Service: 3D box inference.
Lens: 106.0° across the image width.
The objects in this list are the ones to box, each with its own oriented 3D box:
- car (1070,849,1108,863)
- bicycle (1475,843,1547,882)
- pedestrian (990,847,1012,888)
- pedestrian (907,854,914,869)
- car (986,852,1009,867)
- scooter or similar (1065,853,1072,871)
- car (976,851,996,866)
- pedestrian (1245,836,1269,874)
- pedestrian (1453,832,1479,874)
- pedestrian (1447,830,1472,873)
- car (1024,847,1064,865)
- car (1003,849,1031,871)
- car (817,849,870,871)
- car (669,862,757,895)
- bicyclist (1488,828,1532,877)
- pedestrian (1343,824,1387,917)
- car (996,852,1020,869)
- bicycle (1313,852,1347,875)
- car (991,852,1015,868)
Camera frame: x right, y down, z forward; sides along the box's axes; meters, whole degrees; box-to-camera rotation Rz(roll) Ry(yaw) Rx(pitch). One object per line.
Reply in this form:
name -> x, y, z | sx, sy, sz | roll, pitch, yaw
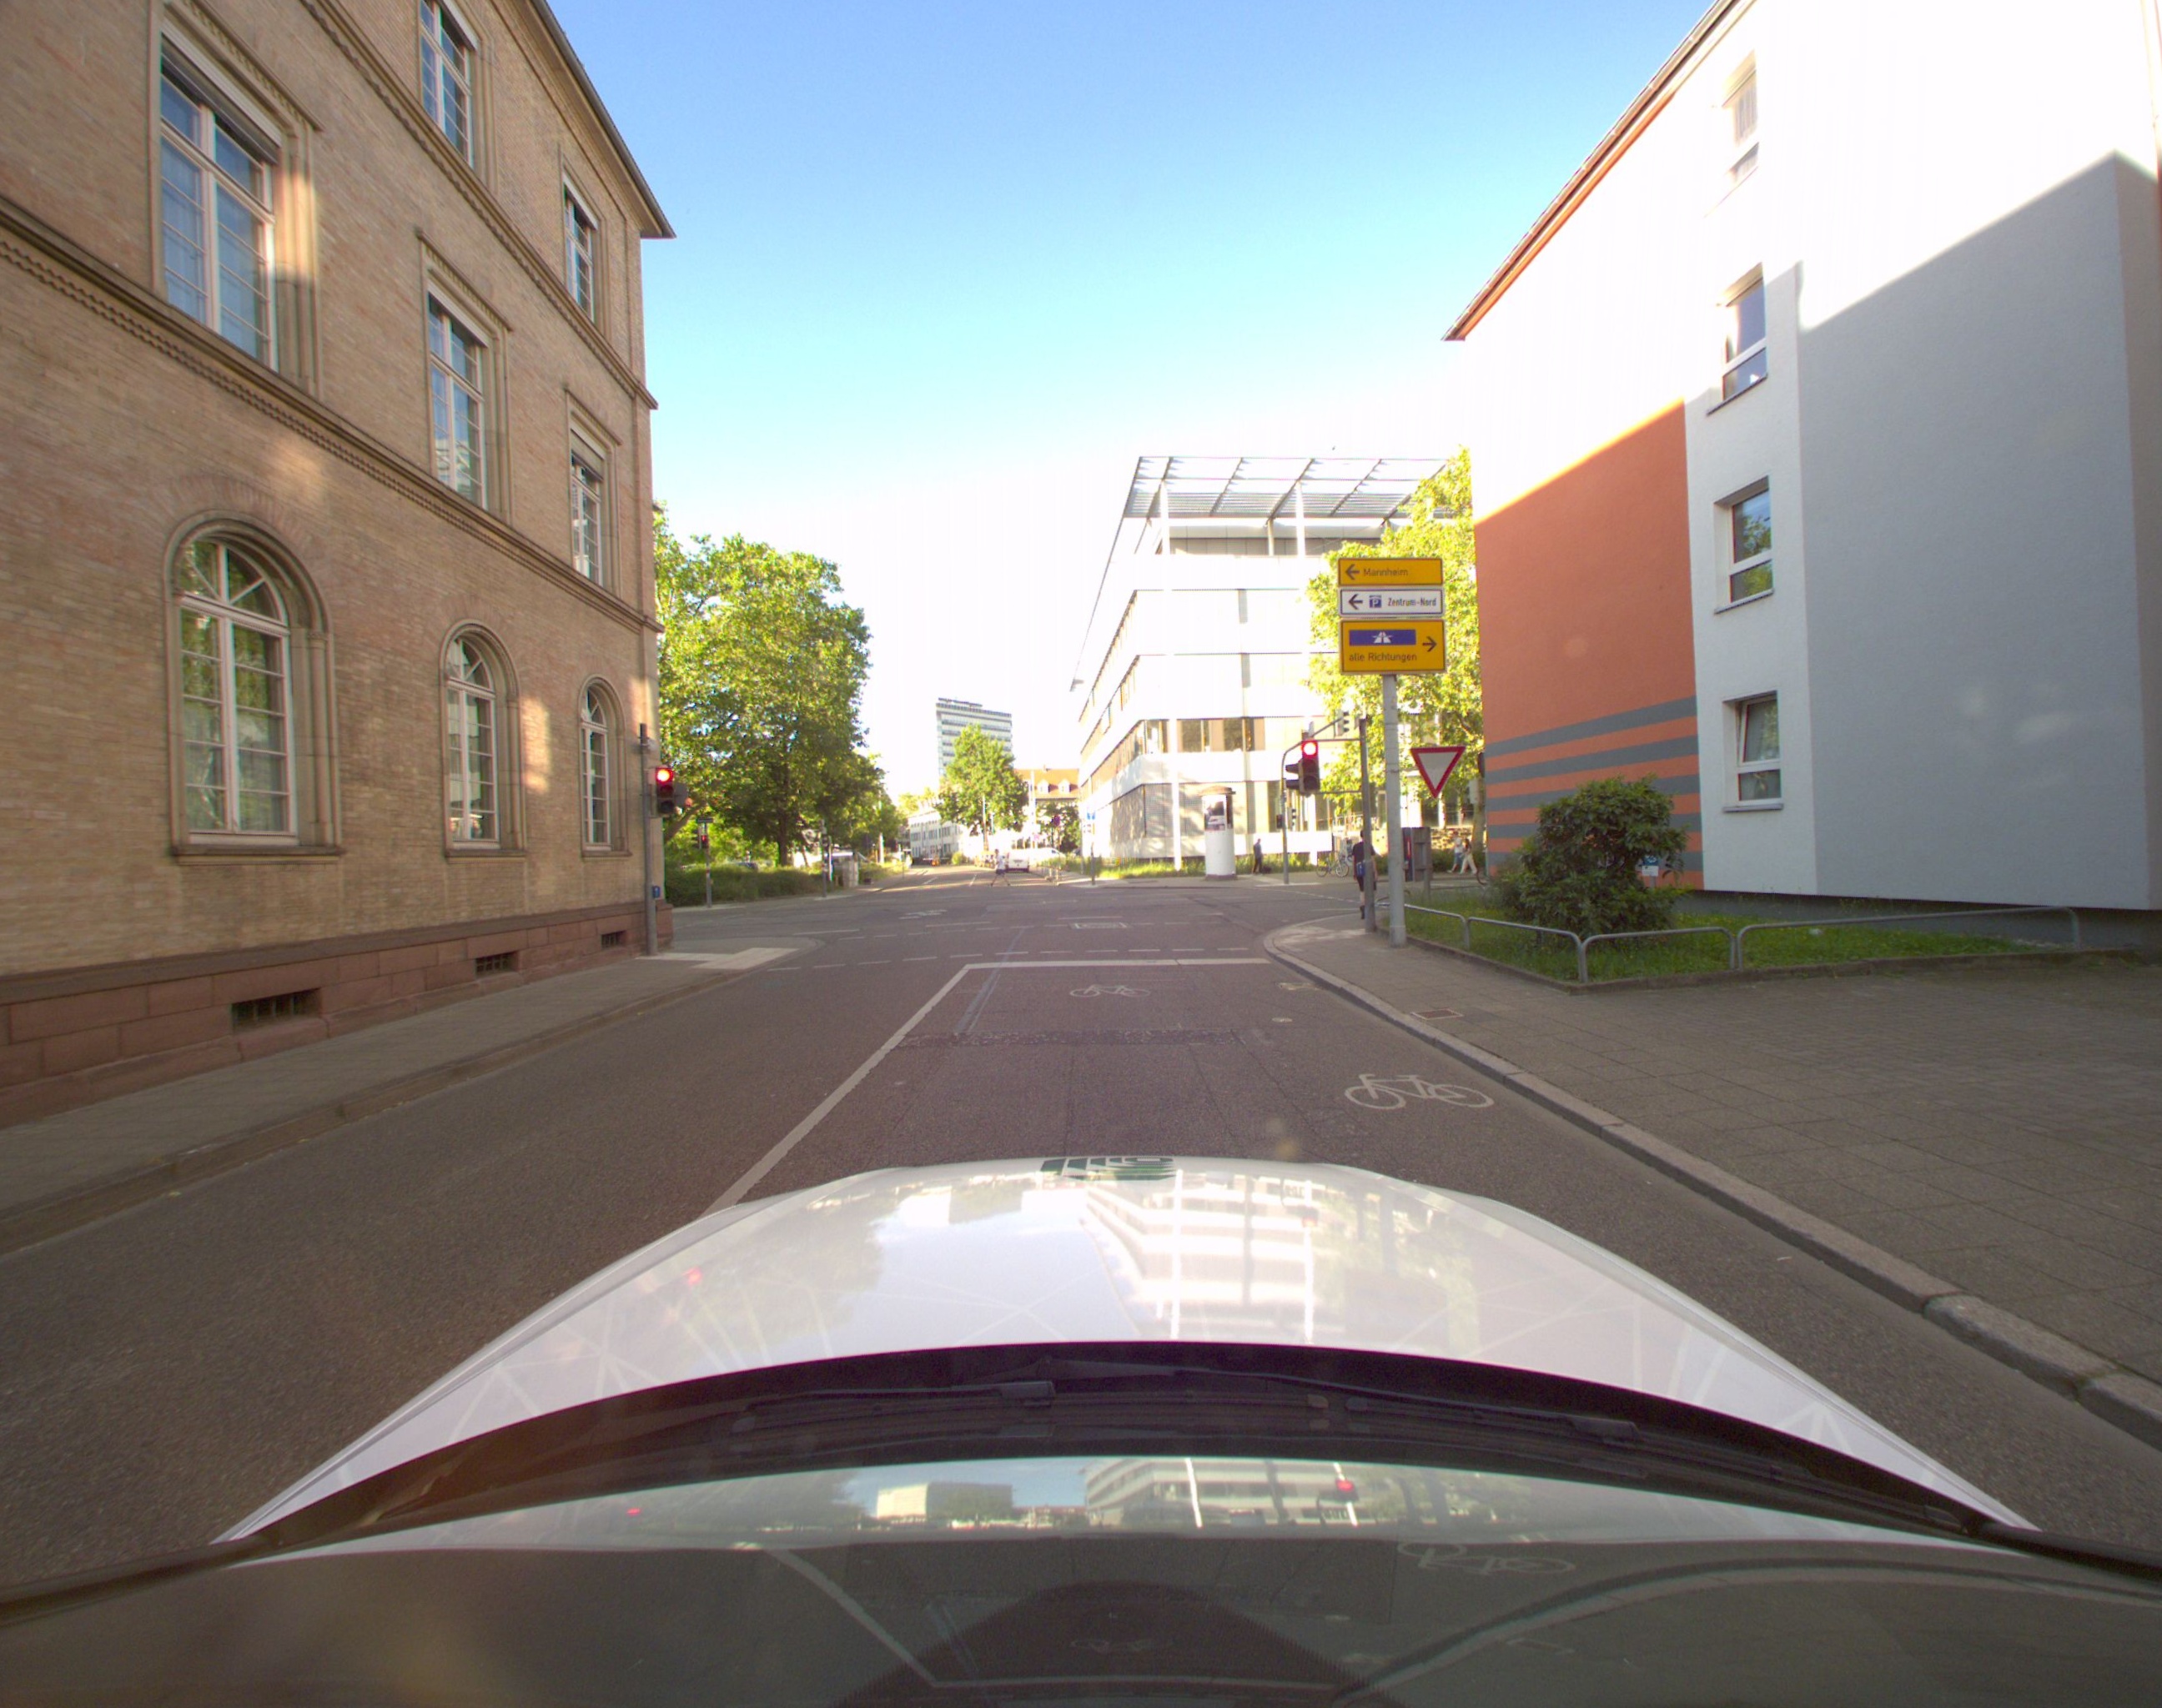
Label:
car -> 1.019, 0.254, 104.963 | 4.644, 1.725, 1.990 | 0, -1, -15
bicycle -> 13.794, 0.273, 26.158 | 1.953, 1.152, 0.593 | -2, 0, 7
pedestrian -> -3.746, 0.628, 38.056 | 0.911, 1.869, 0.743 | 0, -1, 1
pedestrian -> -17.720, 0.804, 84.495 | 0.700, 1.587, 0.633 | 0, -1, -14
car -> -8.886, 0.594, 86.386 | 1.994, 1.499, 4.635 | 0, -1, -10
scooter or similar -> -0.913, 0.583, 58.483 | 0.436, 1.256, 1.418 | -2, 0, -2
car -> -11.304, 0.541, 96.310 | 1.995, 1.725, 4.633 | 0, -1, -11
pedestrian -> 8.410, 0.051, 38.886 | 0.913, 1.815, 0.760 | 0, -1, -7
pedestrian -> 15.976, -0.056, 33.808 | 0.761, 1.719, 0.648 | 0, -1, 4
pedestrian -> 16.058, -0.089, 34.538 | 0.761, 1.795, 0.648 | 0, -1, 4
car -> -4.687, 0.273, 103.256 | 4.802, 2.159, 1.989 | 0, -1, -16
car -> -5.172, 0.471, 65.125 | 1.992, 1.725, 4.640 | 0, -1, -7
car -> -22.025, 0.539, 75.774 | 4.441, 2.014, 1.995 | 0, -1, -8
car -> -17.081, 1.103, 37.908 | 3.407, 1.457, 1.646 | 0, -1, -8
bicyclist -> 13.776, -0.042, 26.167 | 1.069, 1.527, 0.593 | -2, 0, 7
pedestrian -> 5.698, 0.322, 16.330 | 0.693, 1.810, 0.724 | -1, -1, 28
car -> -6.921, 0.612, 77.160 | 1.993, 1.499, 4.638 | 0, -1, -8
bicycle -> 11.009, 0.423, 36.035 | 0.381, 1.008, 1.416 | -2, 0, -40
car -> -7.844, 0.589, 81.633 | 1.994, 1.499, 4.270 | 0, -1, -11
